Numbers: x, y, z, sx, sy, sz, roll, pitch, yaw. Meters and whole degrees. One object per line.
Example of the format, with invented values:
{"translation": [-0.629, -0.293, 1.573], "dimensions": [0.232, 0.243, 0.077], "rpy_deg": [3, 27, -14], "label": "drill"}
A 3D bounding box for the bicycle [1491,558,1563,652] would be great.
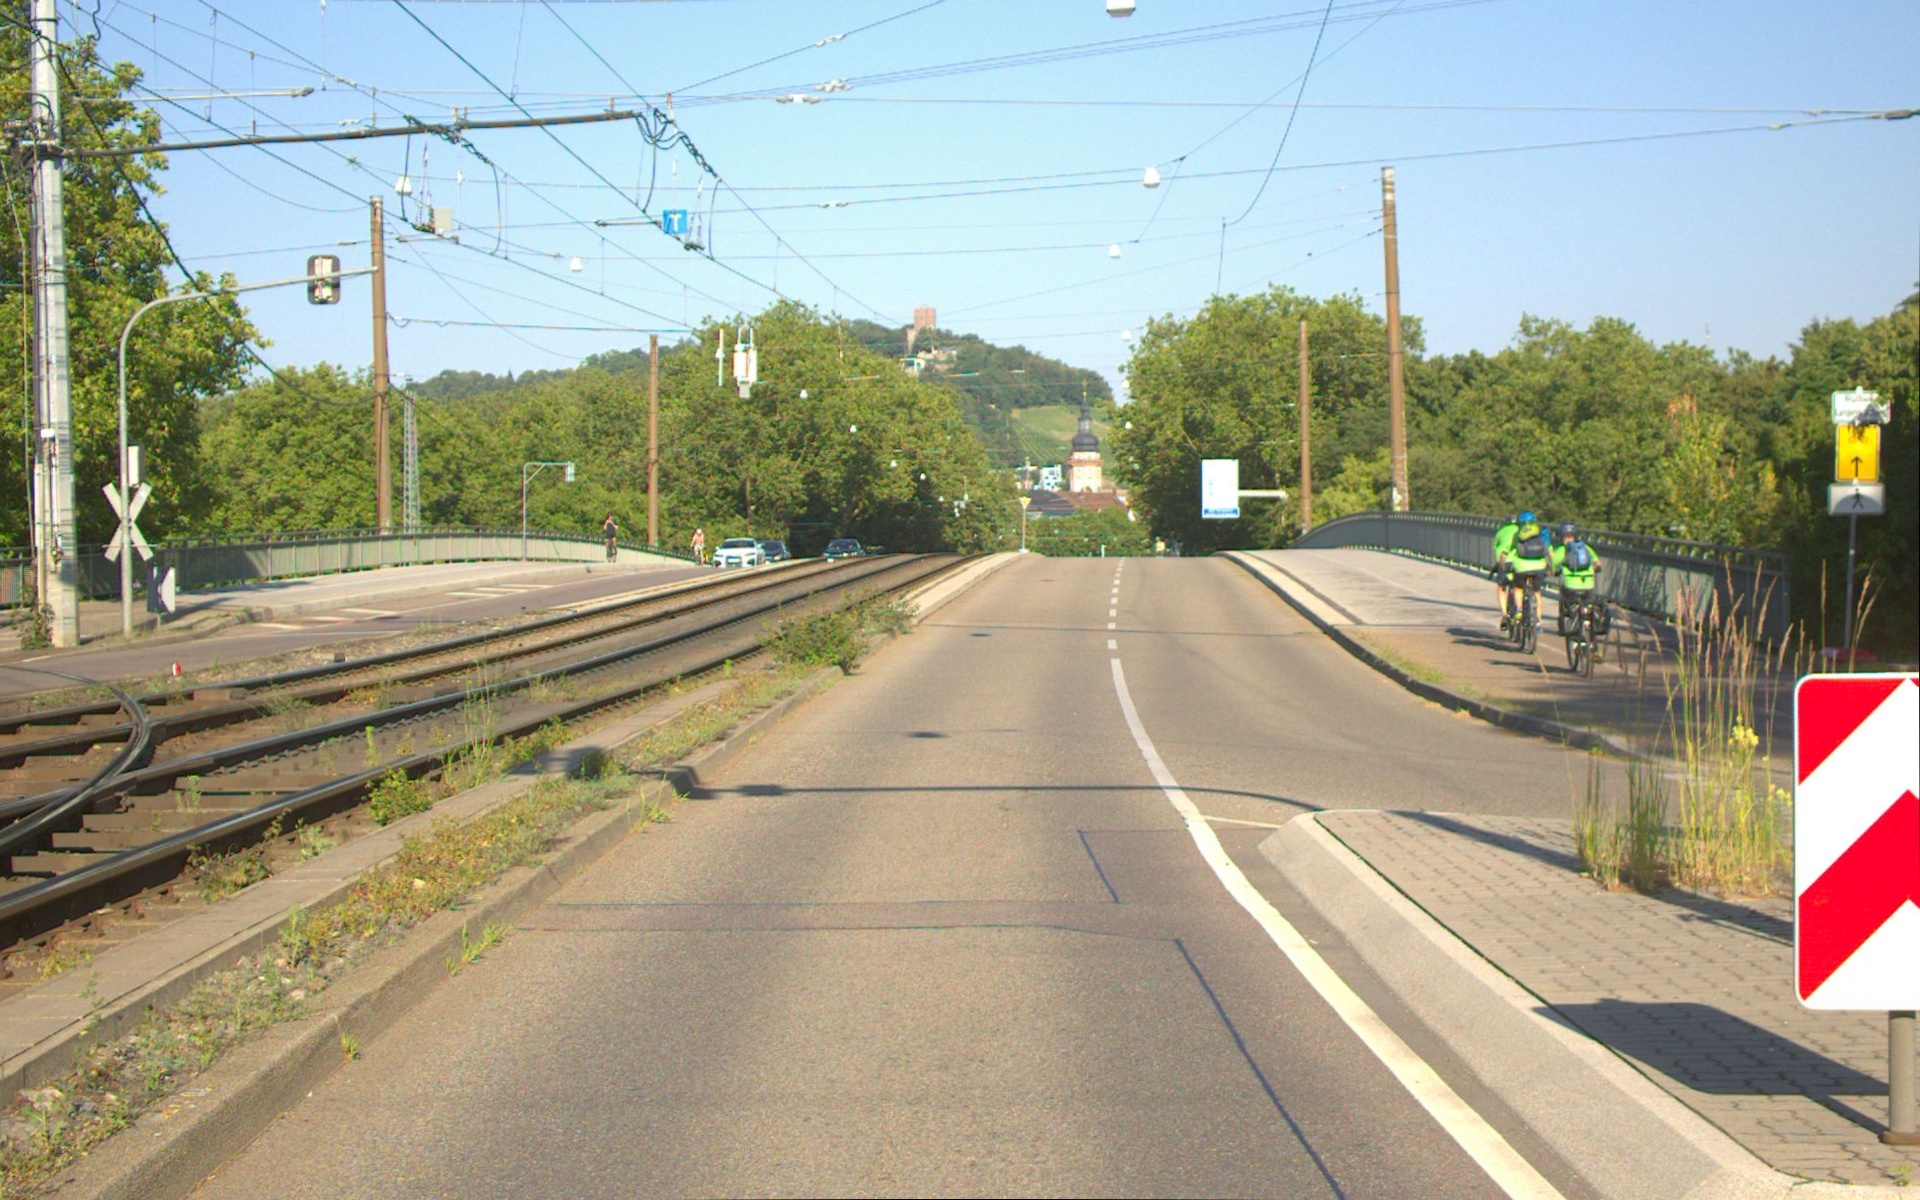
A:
{"translation": [6.945, 0.043, 42.197], "dimensions": [0.625, 1.118, 2.042], "rpy_deg": [0, 1, 3], "label": "bicycle"}

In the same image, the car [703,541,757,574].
{"translation": [-9.585, -1.769, 143.275], "dimensions": [1.684, 1.351, 4.920], "rpy_deg": [0, 1, 3], "label": "car"}

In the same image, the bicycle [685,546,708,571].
{"translation": [-11.769, -1.856, 153.582], "dimensions": [0.625, 1.118, 2.259], "rpy_deg": [0, 1, 7], "label": "bicycle"}

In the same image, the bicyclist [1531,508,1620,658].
{"translation": [6.533, -0.190, 36.521], "dimensions": [0.812, 1.557, 0.896], "rpy_deg": [0, 2, 3], "label": "bicyclist"}

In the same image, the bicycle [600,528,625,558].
{"translation": [-13.128, -2.136, 129.853], "dimensions": [0.625, 1.118, 2.259], "rpy_deg": [0, 1, 3], "label": "bicycle"}

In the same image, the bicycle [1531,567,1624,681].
{"translation": [6.546, 0.238, 36.552], "dimensions": [0.683, 1.118, 2.216], "rpy_deg": [0, 2, 3], "label": "bicycle"}

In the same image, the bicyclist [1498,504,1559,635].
{"translation": [6.980, -0.378, 42.204], "dimensions": [0.625, 1.587, 0.931], "rpy_deg": [0, 1, 3], "label": "bicyclist"}

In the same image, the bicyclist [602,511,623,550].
{"translation": [-13.128, -2.622, 129.885], "dimensions": [0.625, 1.427, 0.968], "rpy_deg": [0, 1, 3], "label": "bicyclist"}

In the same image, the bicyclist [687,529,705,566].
{"translation": [-11.777, -2.334, 153.513], "dimensions": [0.625, 1.627, 0.935], "rpy_deg": [0, 1, 7], "label": "bicyclist"}

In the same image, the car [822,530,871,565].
{"translation": [-5.060, -2.358, 153.992], "dimensions": [1.849, 1.497, 4.219], "rpy_deg": [0, 1, 3], "label": "car"}

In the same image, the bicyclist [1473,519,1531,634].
{"translation": [7.149, -0.318, 45.353], "dimensions": [0.625, 1.503, 1.006], "rpy_deg": [0, 1, 2], "label": "bicyclist"}

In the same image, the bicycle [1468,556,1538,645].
{"translation": [7.142, -0.003, 45.317], "dimensions": [0.625, 1.118, 2.260], "rpy_deg": [0, 1, 2], "label": "bicycle"}
